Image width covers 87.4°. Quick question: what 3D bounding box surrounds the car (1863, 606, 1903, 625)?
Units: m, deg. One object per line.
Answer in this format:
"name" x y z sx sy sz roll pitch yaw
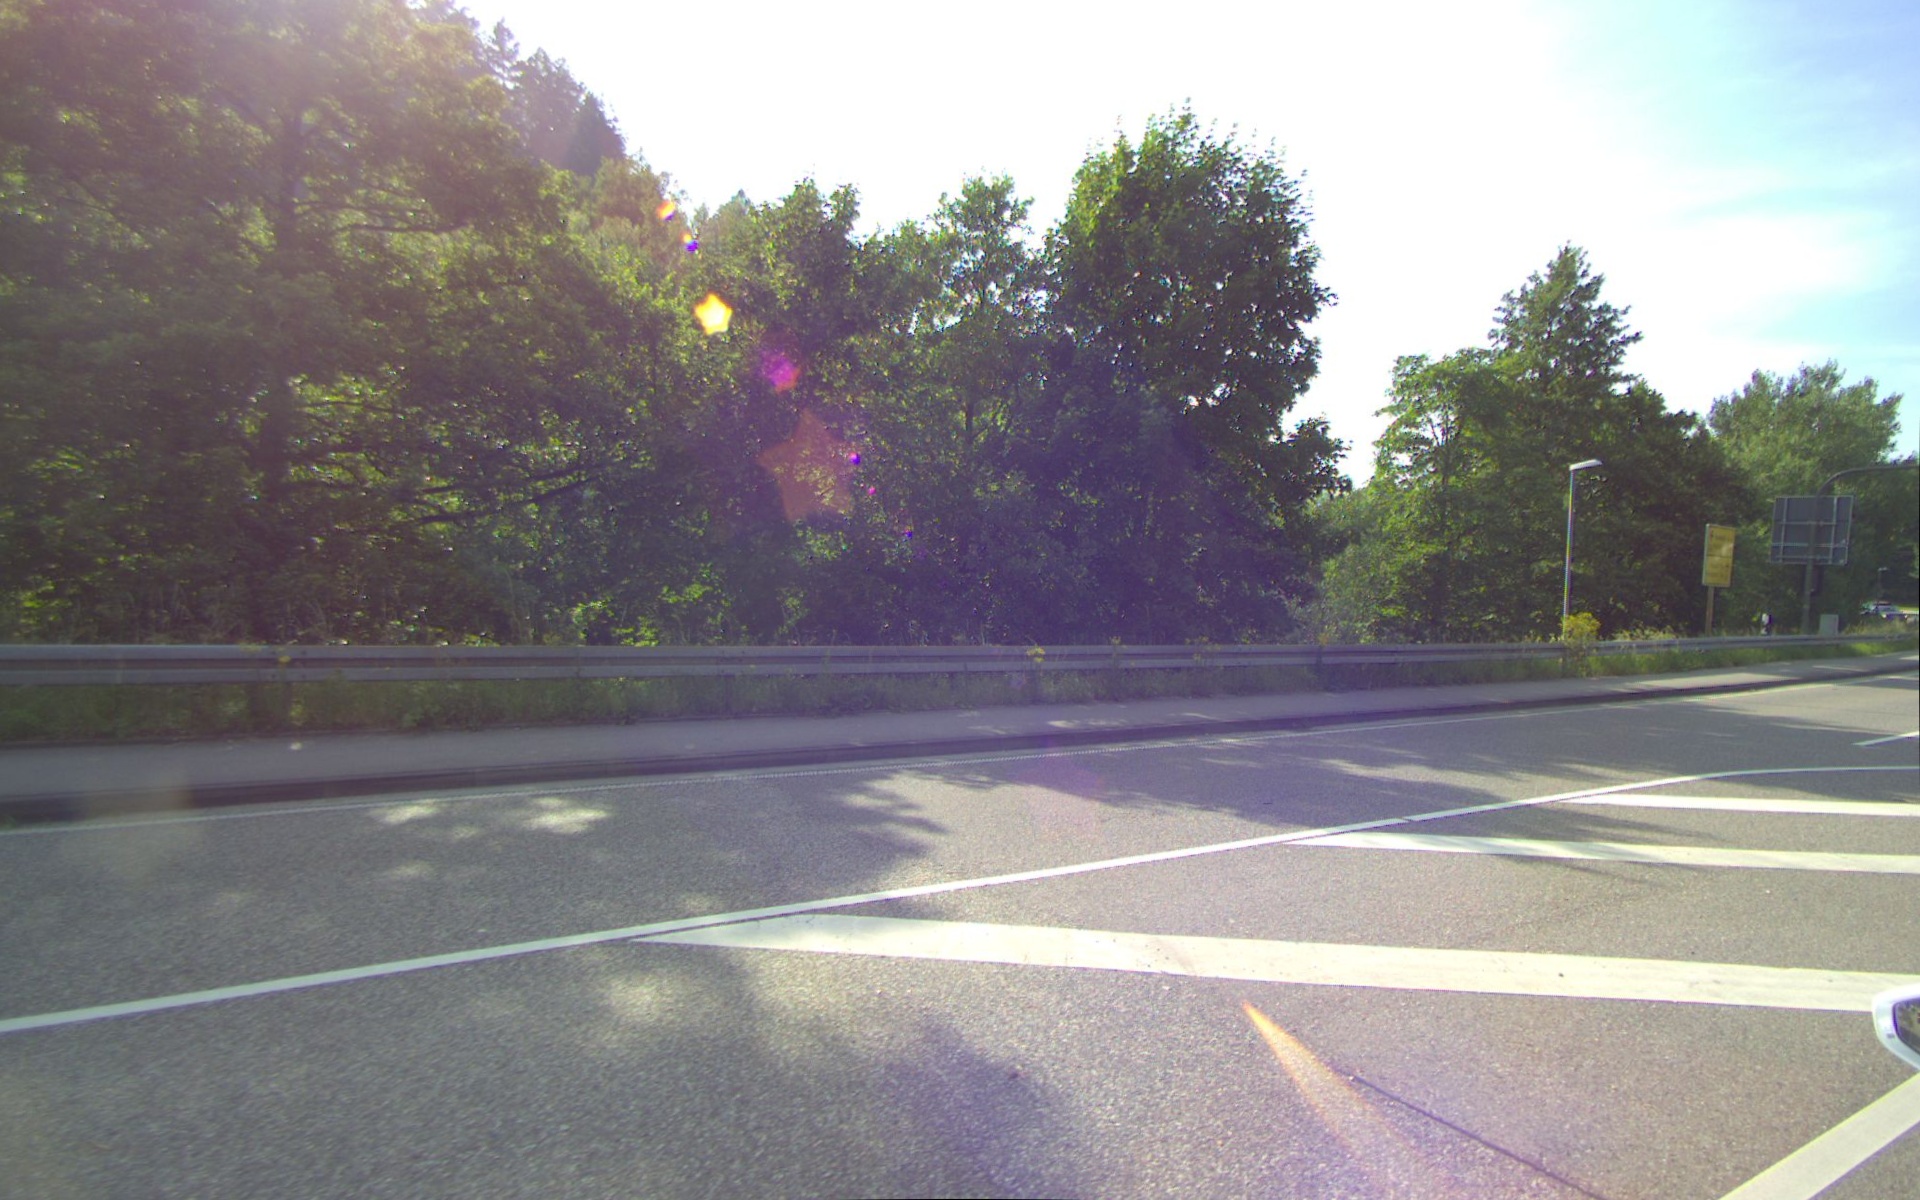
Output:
"car" 94.967 1.539 103.356 2.032 1.835 3.994 1 1 28
